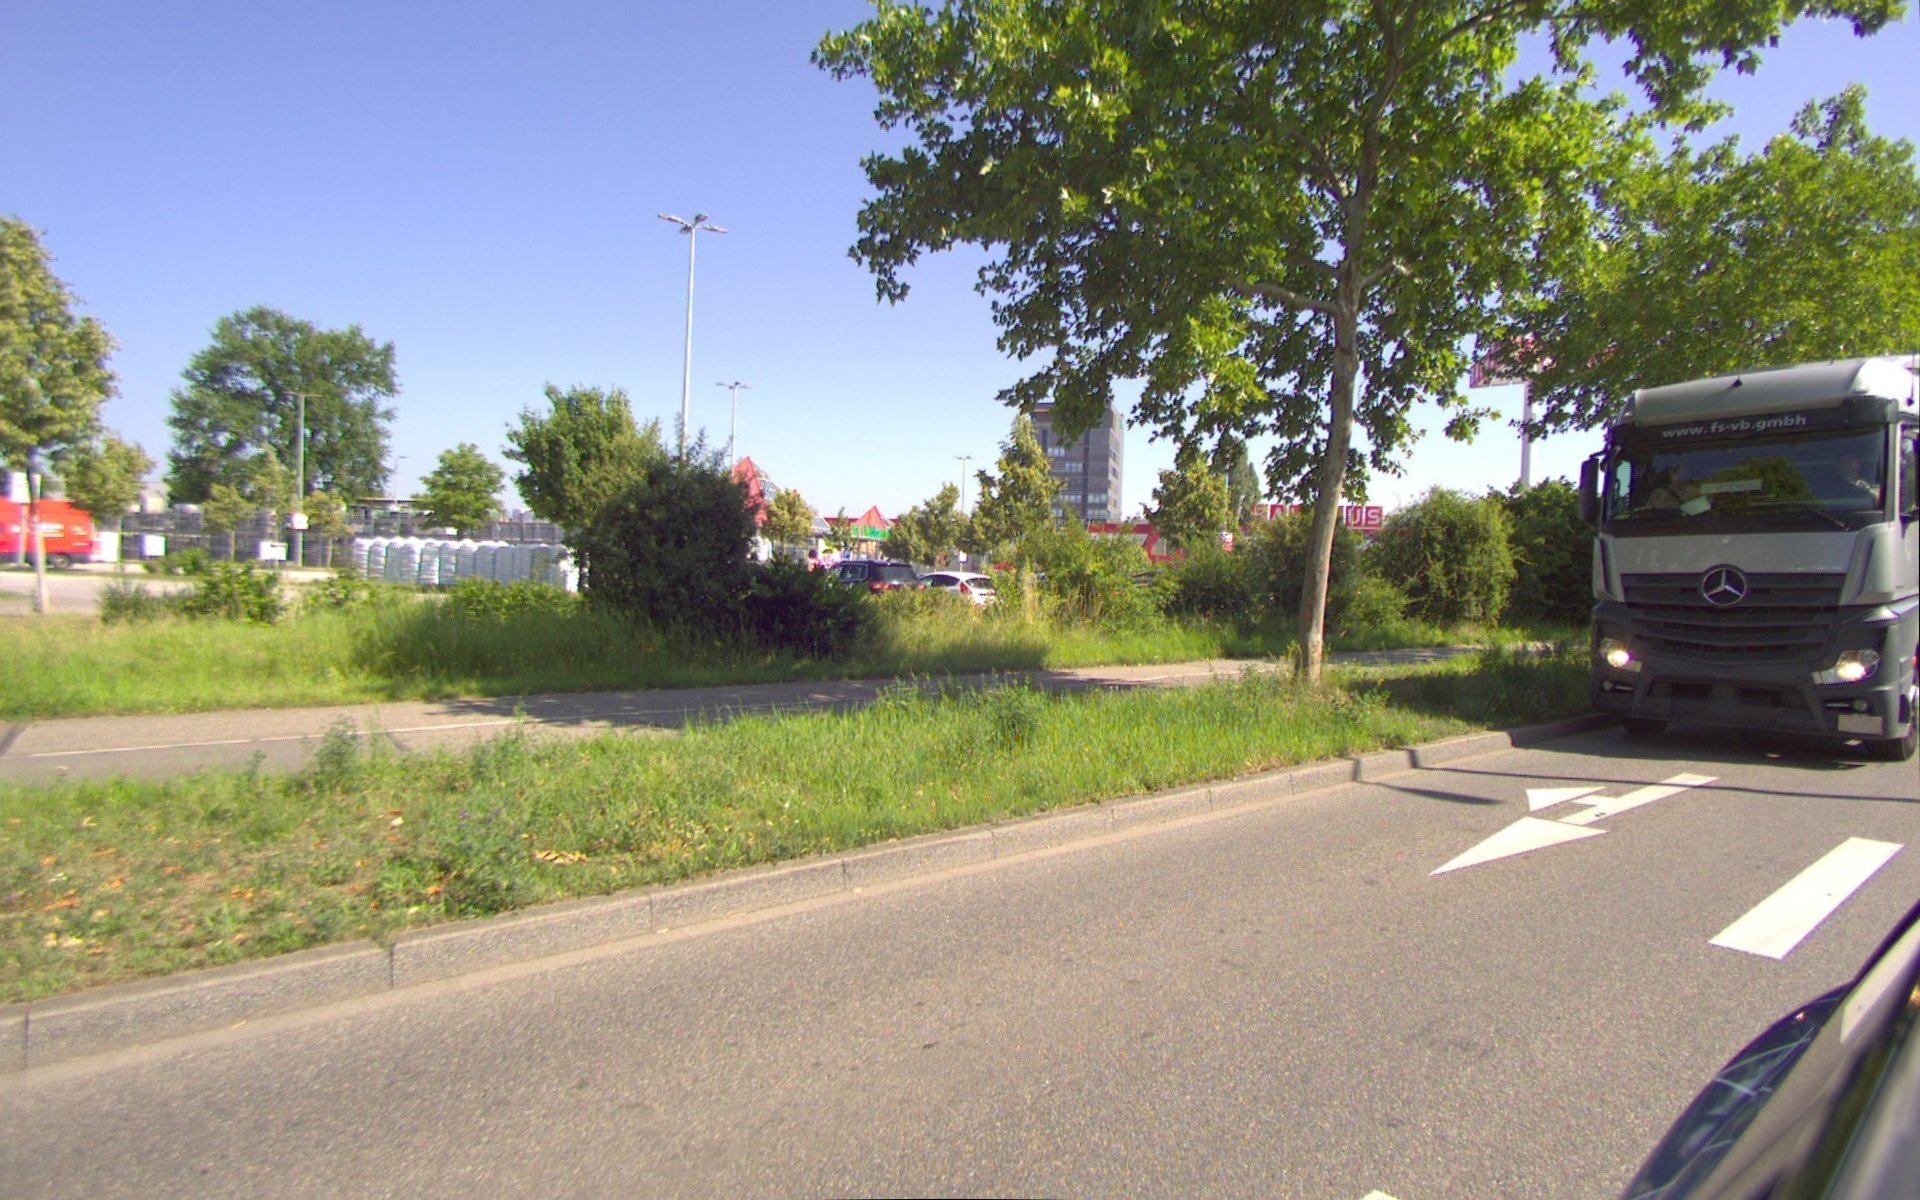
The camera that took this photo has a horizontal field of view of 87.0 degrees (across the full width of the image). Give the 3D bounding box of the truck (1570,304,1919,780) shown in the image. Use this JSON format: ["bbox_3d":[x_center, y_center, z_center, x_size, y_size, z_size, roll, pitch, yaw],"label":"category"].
[{"bbox_3d":[10.536,-0.556,12.051,8.564,3.938,2.737,-1,2,-38],"label":"truck"}]

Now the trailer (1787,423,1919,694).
[{"bbox_3d":[16.799,-0.640,17.153,7.596,3.925,2.743,-1,2,-39],"label":"trailer"}]

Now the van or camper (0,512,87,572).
[{"bbox_3d":[-45.391,-2.727,47.200,1.971,2.739,7.253,0,0,15],"label":"van or camper"}]

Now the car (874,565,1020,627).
[{"bbox_3d":[-0.435,-0.121,28.431,1.850,1.611,4.075,-1,0,-43],"label":"car"}]

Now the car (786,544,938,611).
[{"bbox_3d":[-2.627,-0.555,26.482,1.850,1.611,4.075,-1,0,-43],"label":"car"}]

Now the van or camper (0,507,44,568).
[{"bbox_3d":[-48.823,-3.110,48.613,1.971,2.979,7.253,0,0,15],"label":"van or camper"}]
